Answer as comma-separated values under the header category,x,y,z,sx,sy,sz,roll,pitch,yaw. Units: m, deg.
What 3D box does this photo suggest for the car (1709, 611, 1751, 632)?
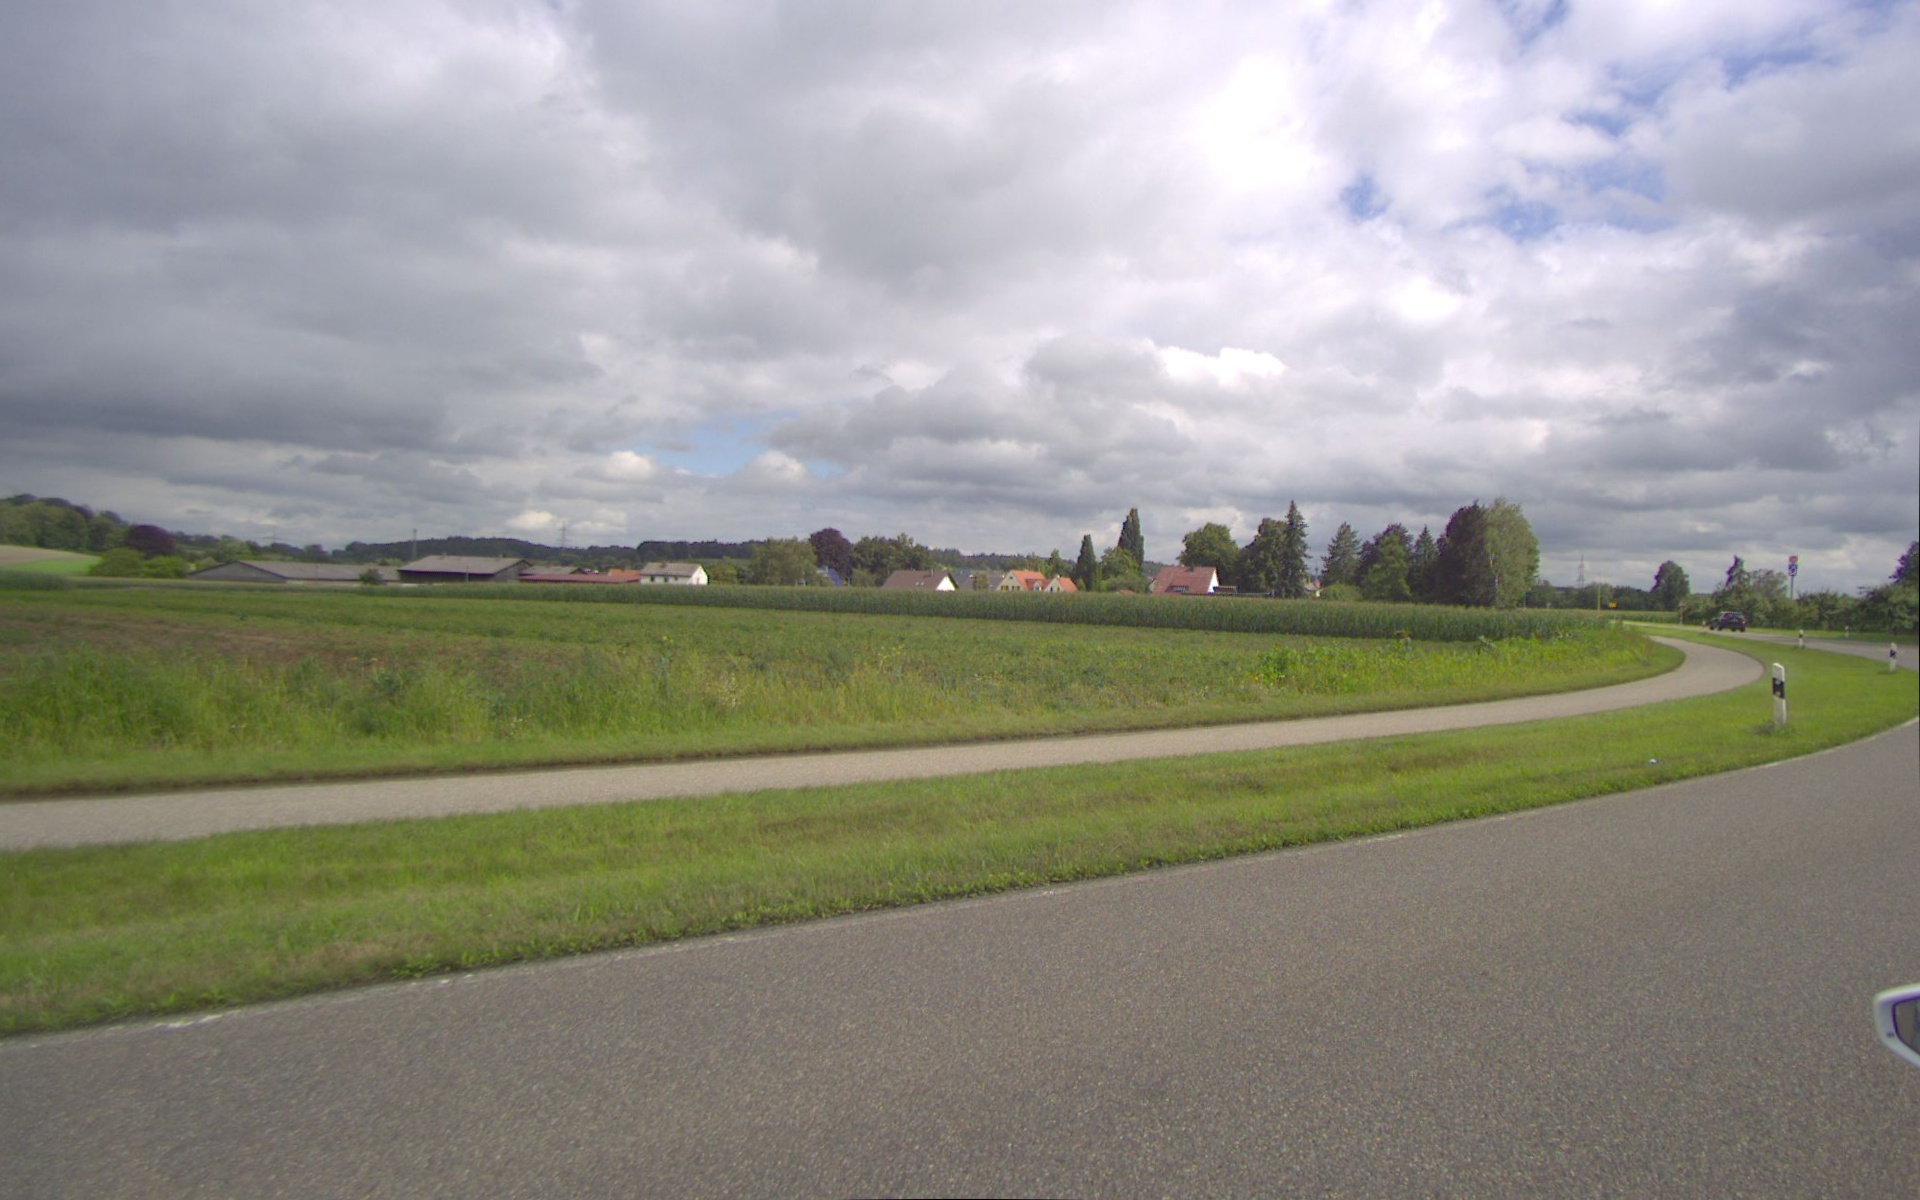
category,x,y,z,sx,sy,sz,roll,pitch,yaw
car,66.981,1.852,87.448,1.876,1.688,3.998,1,0,23
